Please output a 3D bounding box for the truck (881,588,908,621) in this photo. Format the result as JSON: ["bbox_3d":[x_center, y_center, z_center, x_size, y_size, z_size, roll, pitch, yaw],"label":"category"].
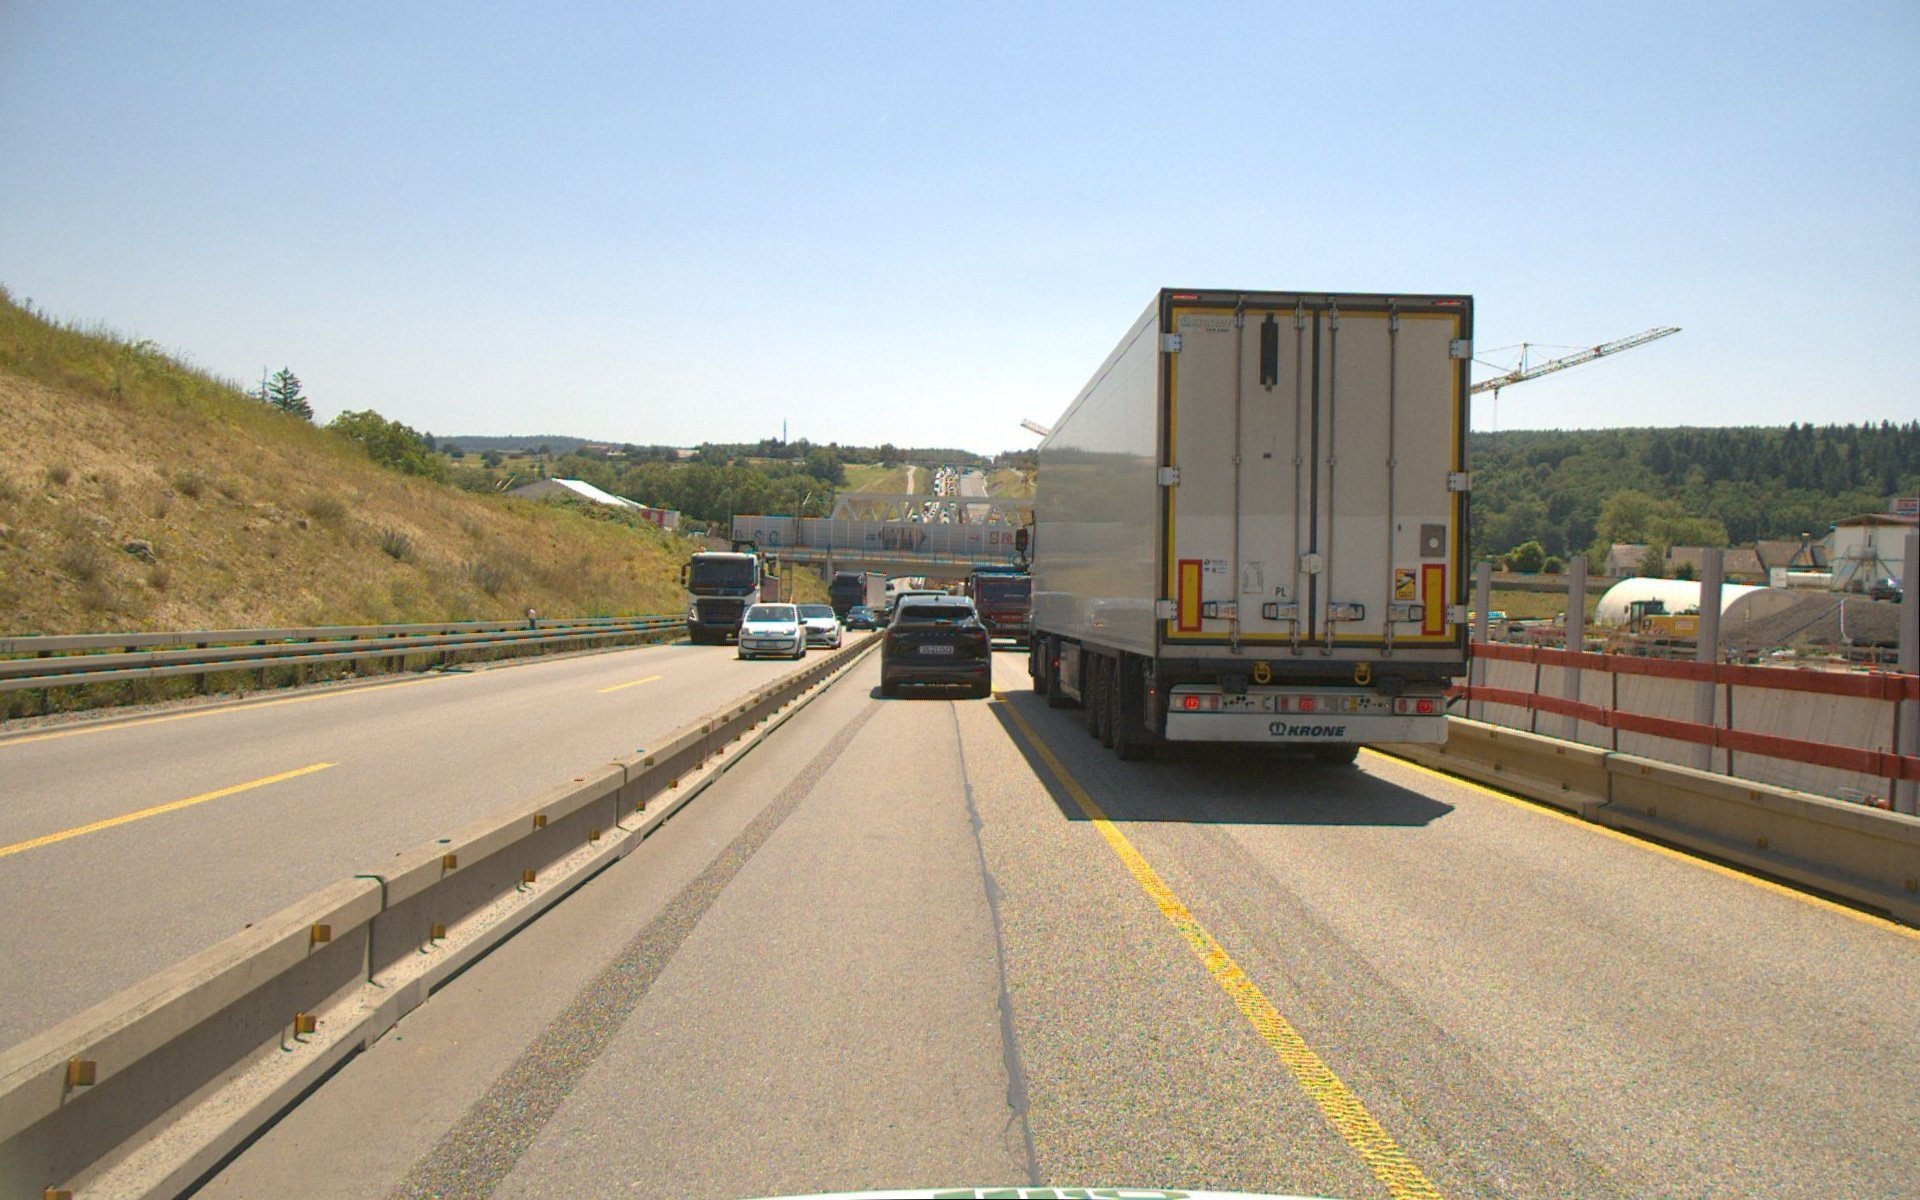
[{"bbox_3d":[-6.046,0.434,153.248,2.222,2.933,5.850,1,0,-1],"label":"truck"}]

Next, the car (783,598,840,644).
[{"bbox_3d":[-4.882,0.667,54.788,1.650,1.455,4.120,1,0,-2],"label":"car"}]

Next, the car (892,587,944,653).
[{"bbox_3d":[-1.197,0.563,47.699,1.445,1.826,3.297,0,0,-1],"label":"car"}]

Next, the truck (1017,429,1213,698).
[{"bbox_3d":[2.487,-0.551,28.083,2.720,4.129,4.903,1,0,-1],"label":"truck"}]

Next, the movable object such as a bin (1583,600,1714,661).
[{"bbox_3d":[35.783,1.498,86.385,2.829,2.960,9.478,1,0,0],"label":"movable object such as a bin"}]

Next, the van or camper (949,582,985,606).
[{"bbox_3d":[1.018,-0.939,253.710,3.873,3.479,8.383,1,0,-11],"label":"van or camper"}]

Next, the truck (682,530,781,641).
[{"bbox_3d":[-8.345,-0.474,61.502,2.534,3.788,9.330,1,0,-1],"label":"truck"}]

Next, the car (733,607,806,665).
[{"bbox_3d":[-4.989,0.926,43.679,1.650,1.455,3.291,1,0,-2],"label":"car"}]

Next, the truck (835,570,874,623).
[{"bbox_3d":[-8.036,-0.270,126.794,2.711,3.952,4.962,1,0,-1],"label":"truck"}]

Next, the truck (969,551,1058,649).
[{"bbox_3d":[1.798,0.026,61.121,2.756,3.190,12.835,1,0,0],"label":"truck"}]

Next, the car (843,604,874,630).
[{"bbox_3d":[-5.746,0.939,93.760,1.650,1.455,3.848,1,0,-2],"label":"car"}]

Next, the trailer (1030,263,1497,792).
[{"bbox_3d":[2.700,-0.527,20.091,2.745,4.129,14.112,1,0,-1],"label":"trailer"}]

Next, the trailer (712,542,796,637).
[{"bbox_3d":[-8.527,-0.398,69.440,2.534,3.701,9.076,1,0,-1],"label":"trailer"}]

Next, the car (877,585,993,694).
[{"bbox_3d":[-0.417,0.600,27.494,1.764,1.648,3.297,2,0,-1],"label":"car"}]

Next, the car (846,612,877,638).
[{"bbox_3d":[-5.562,1.387,93.878,1.655,1.427,3.685,1,0,-2],"label":"car"}]

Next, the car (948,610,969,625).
[{"bbox_3d":[-0.103,1.406,133.965,1.508,1.227,3.309,1,0,-3],"label":"car"}]
